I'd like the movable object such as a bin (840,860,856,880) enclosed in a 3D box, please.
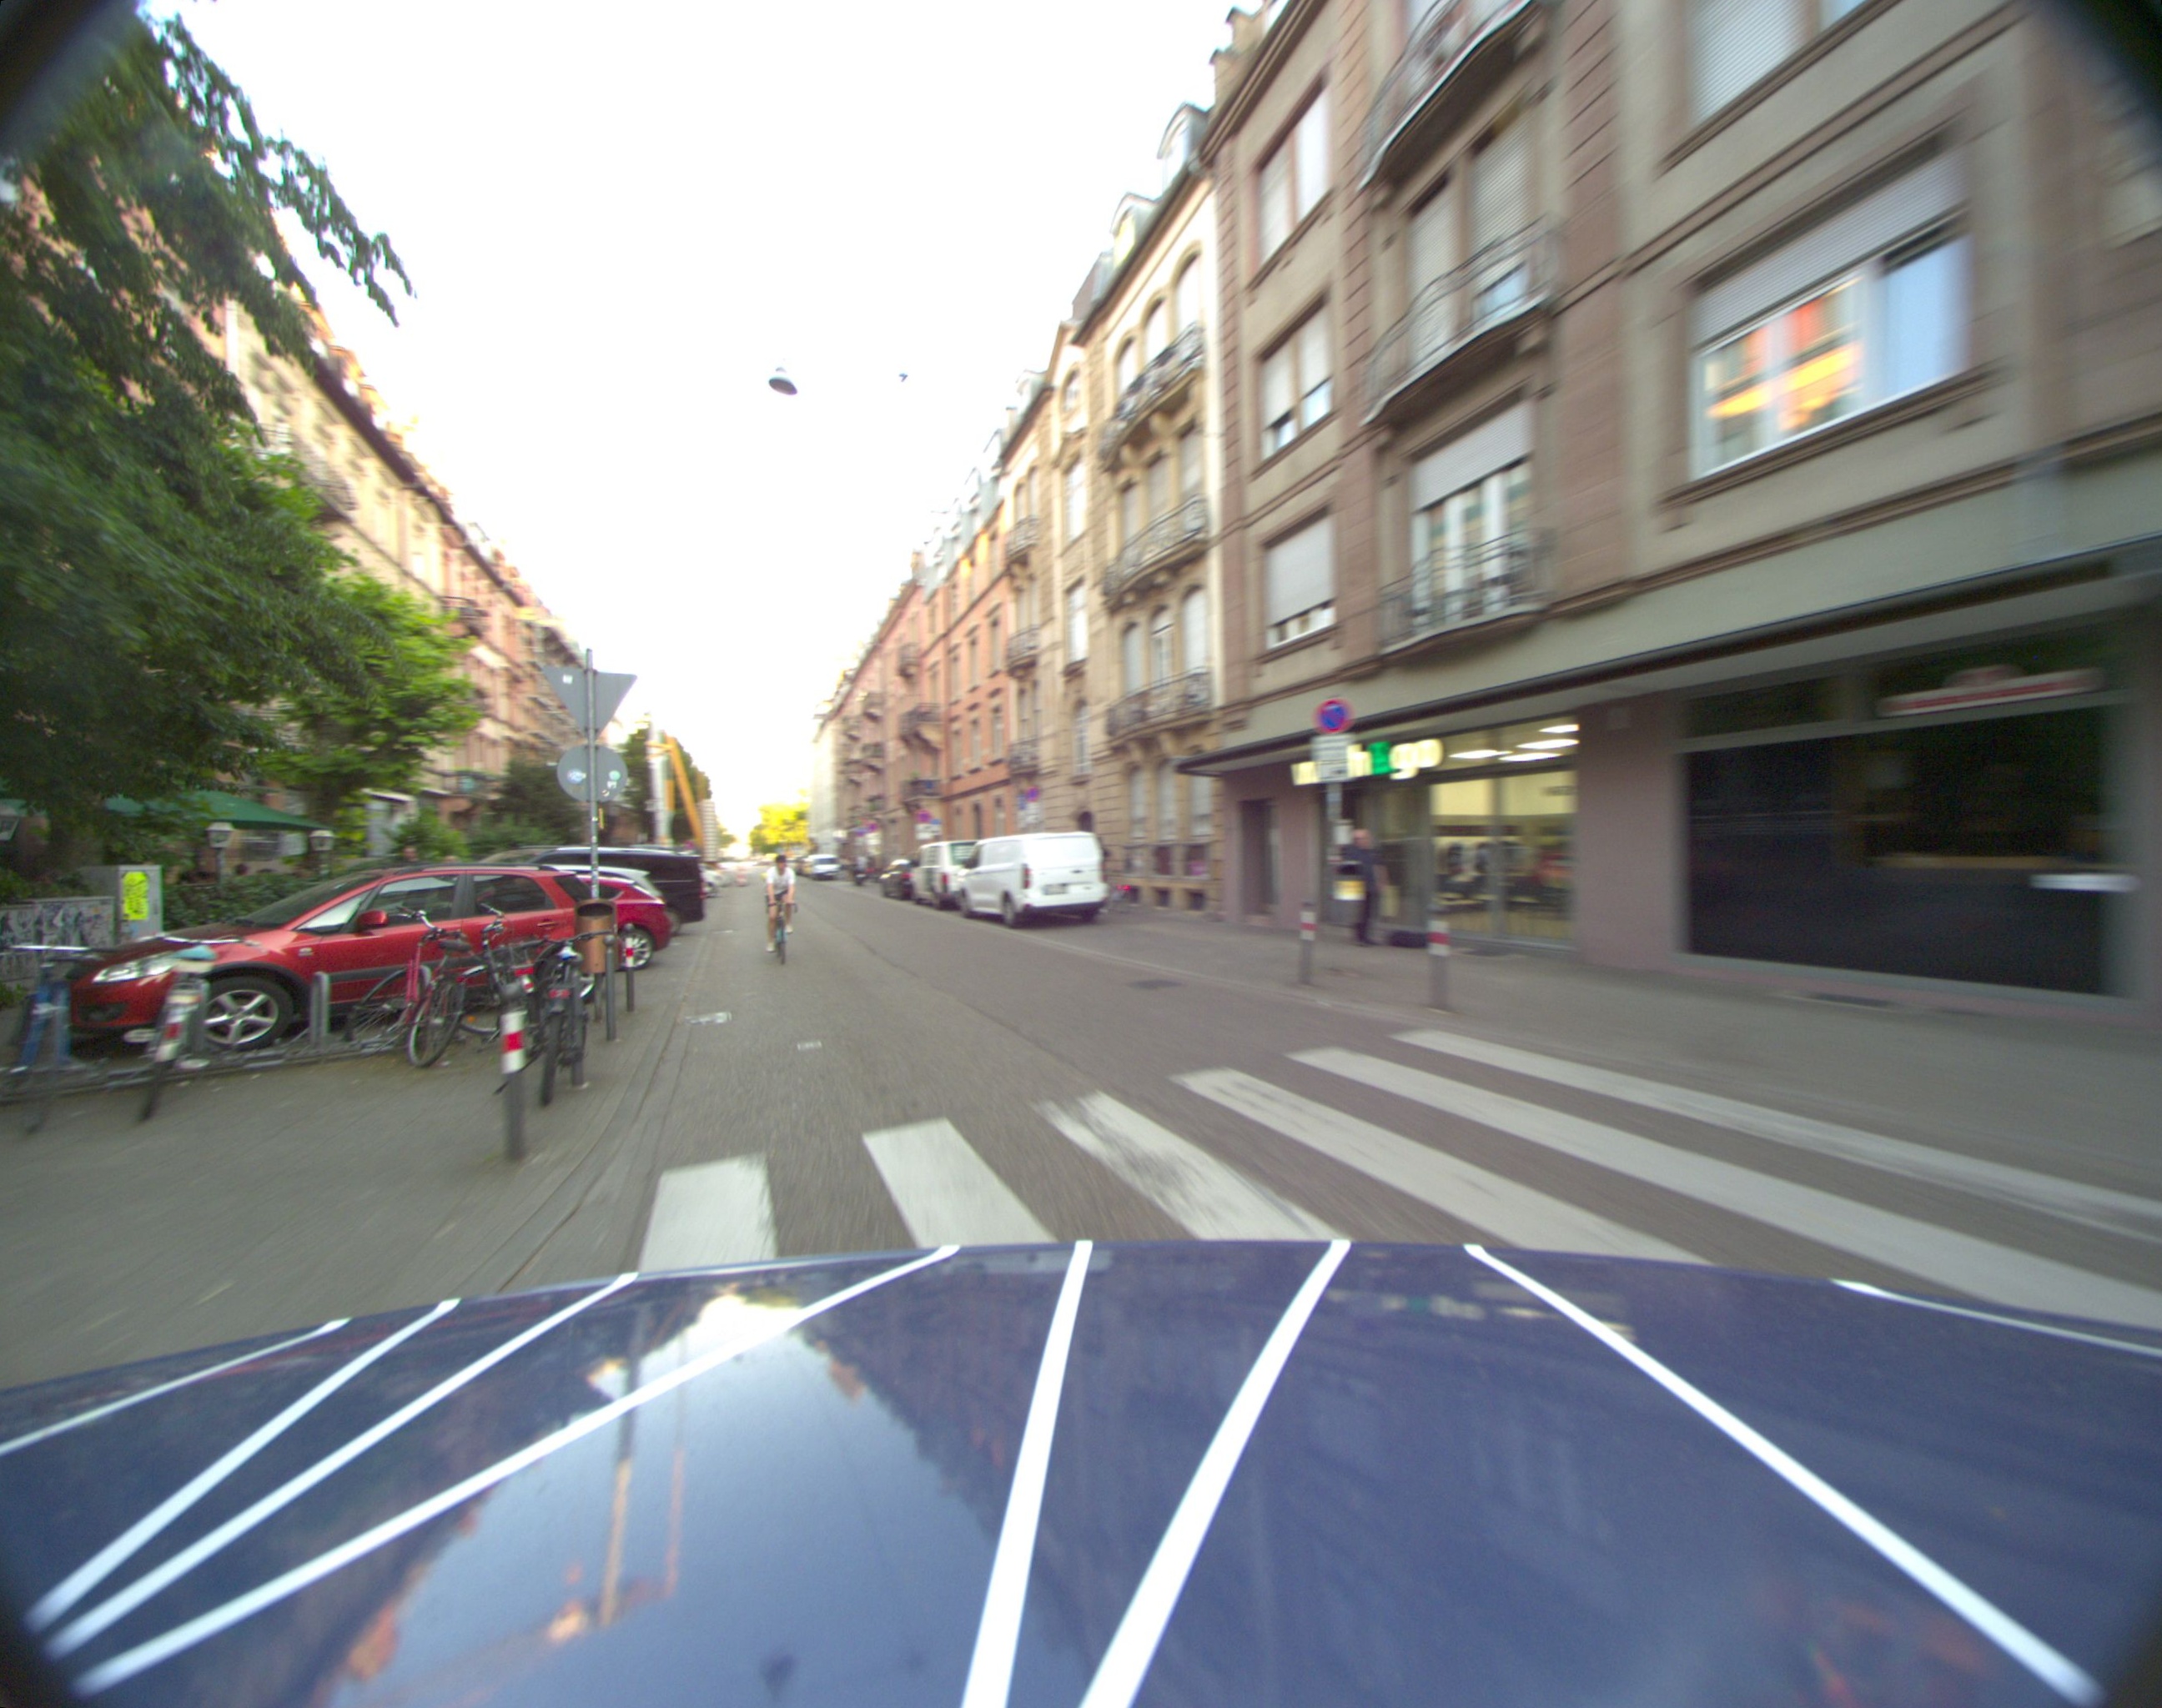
[{"bbox_3d":[-15.962,1.091,51.965,0.891,1.244,0.774,-3,2,-23],"label":"movable object such as a bin"}]

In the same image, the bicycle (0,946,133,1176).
[{"bbox_3d":[-6.323,1.179,4.655,1.764,1.057,0.600,0,-1,40],"label":"bicycle"}]

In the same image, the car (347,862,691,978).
[{"bbox_3d":[-9.230,0.981,12.860,1.928,1.612,4.234,0,-2,33],"label":"car"}]

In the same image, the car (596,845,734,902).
[{"bbox_3d":[-18.400,0.786,33.799,1.994,2.348,4.949,-1,0,40],"label":"car"}]

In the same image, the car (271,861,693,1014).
[{"bbox_3d":[-8.057,0.986,10.721,1.928,1.678,4.233,0,-2,28],"label":"car"}]

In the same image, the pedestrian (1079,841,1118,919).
[{"bbox_3d":[0.409,0.600,18.311,0.539,1.813,0.995,-3,2,-20],"label":"pedestrian"}]

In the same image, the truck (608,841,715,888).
[{"bbox_3d":[-30.931,0.704,56.362,6.507,3.059,2.519,-3,2,-20],"label":"truck"}]

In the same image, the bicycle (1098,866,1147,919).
[{"bbox_3d":[0.983,0.898,18.362,0.473,1.136,1.781,-3,2,-20],"label":"bicycle"}]

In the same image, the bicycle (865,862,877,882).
[{"bbox_3d":[-12.570,1.077,45.433,0.413,1.153,1.834,-3,2,-23],"label":"bicycle"}]

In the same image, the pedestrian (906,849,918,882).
[{"bbox_3d":[-9.423,0.648,42.301,0.465,1.779,0.640,-3,2,-20],"label":"pedestrian"}]

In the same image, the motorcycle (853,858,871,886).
[{"bbox_3d":[-11.765,0.936,40.827,0.687,1.397,2.010,-3,2,-21],"label":"motorcycle"}]

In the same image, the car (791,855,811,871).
[{"bbox_3d":[-31.662,1.019,85.834,1.733,1.638,3.909,-3,1,-24],"label":"car"}]

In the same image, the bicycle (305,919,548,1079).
[{"bbox_3d":[-5.589,1.192,6.593,1.555,1.154,0.364,0,0,-38],"label":"bicycle"}]

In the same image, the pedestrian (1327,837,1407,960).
[{"bbox_3d":[4.095,0.605,10.898,0.712,1.668,0.734,-3,1,-21],"label":"pedestrian"}]

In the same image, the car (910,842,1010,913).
[{"bbox_3d":[-3.817,0.635,23.146,1.845,1.910,4.836,-2,1,-23],"label":"car"}]

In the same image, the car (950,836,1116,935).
[{"bbox_3d":[-1.313,0.623,17.646,2.119,1.910,5.015,-2,1,-25],"label":"car"}]

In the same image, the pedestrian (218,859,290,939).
[{"bbox_3d":[-14.740,0.786,13.562,0.590,1.358,0.696,-3,2,-27],"label":"pedestrian"}]

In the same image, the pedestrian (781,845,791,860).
[{"bbox_3d":[-53.434,-0.320,137.632,1.448,2.725,1.010,-3,2,-25],"label":"pedestrian"}]

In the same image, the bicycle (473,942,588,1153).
[{"bbox_3d":[-3.762,1.237,5.273,0.365,1.057,1.549,-3,2,-27],"label":"bicycle"}]

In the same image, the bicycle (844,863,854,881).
[{"bbox_3d":[-14.730,1.115,48.206,0.467,1.062,1.517,-3,2,-20],"label":"bicycle"}]

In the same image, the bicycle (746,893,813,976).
[{"bbox_3d":[-4.905,1.250,12.301,0.521,1.148,1.778,-4,2,-36],"label":"bicycle"}]

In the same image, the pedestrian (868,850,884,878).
[{"bbox_3d":[-13.326,0.645,49.350,0.685,1.800,0.959,-3,2,-28],"label":"pedestrian"}]

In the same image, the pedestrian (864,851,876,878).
[{"bbox_3d":[-14.367,0.728,51.835,0.599,1.804,0.720,-2,2,-6],"label":"pedestrian"}]

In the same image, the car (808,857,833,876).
[{"bbox_3d":[-21.791,1.043,63.566,1.712,1.521,3.785,-2,1,-22],"label":"car"}]

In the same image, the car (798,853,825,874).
[{"bbox_3d":[-25.730,0.907,72.487,1.936,1.872,4.895,-2,1,-25],"label":"car"}]

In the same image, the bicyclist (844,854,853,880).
[{"bbox_3d":[-14.821,0.822,48.433,0.467,1.581,0.486,-3,2,-21],"label":"bicyclist"}]

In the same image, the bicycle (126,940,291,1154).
[{"bbox_3d":[-5.912,1.196,5.142,1.764,1.057,0.600,-1,2,40],"label":"bicycle"}]

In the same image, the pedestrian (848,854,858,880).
[{"bbox_3d":[-14.789,0.846,49.281,0.420,1.699,0.350,-3,2,-29],"label":"pedestrian"}]

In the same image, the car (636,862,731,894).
[{"bbox_3d":[-20.363,1.197,38.994,1.842,1.507,3.876,-1,0,41],"label":"car"}]

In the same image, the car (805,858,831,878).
[{"bbox_3d":[-23.464,1.212,67.662,1.935,1.587,3.962,-2,1,-22],"label":"car"}]

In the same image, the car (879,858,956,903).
[{"bbox_3d":[-6.182,0.930,28.369,1.845,1.462,4.164,-2,1,-26],"label":"car"}]

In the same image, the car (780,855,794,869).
[{"bbox_3d":[-44.123,1.172,114.060,1.789,1.860,4.448,-3,2,-22],"label":"car"}]

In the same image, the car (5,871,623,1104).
[{"bbox_3d":[-7.096,0.995,7.507,1.688,1.618,4.058,-1,-2,35],"label":"car"}]

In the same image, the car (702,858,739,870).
[{"bbox_3d":[-45.074,1.237,94.990,1.673,1.509,3.843,1,0,34],"label":"car"}]

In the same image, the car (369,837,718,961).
[{"bbox_3d":[-10.452,0.821,15.413,1.928,2.060,5.449,0,-2,28],"label":"car"}]

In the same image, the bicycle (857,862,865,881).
[{"bbox_3d":[-14.294,1.098,49.348,0.467,1.148,1.997,-3,2,-17],"label":"bicycle"}]

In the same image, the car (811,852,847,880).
[{"bbox_3d":[-17.964,0.798,54.022,1.778,1.779,4.577,-3,1,-25],"label":"car"}]

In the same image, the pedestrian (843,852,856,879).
[{"bbox_3d":[-15.642,0.789,51.355,0.601,1.804,0.719,-3,2,-32],"label":"pedestrian"}]

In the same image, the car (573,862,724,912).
[{"bbox_3d":[-14.787,1.107,26.167,1.813,1.581,4.118,0,-2,36],"label":"car"}]

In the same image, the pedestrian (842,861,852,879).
[{"bbox_3d":[-16.037,1.092,52.041,0.480,1.244,0.651,-3,2,-23],"label":"pedestrian"}]

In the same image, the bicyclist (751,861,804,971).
[{"bbox_3d":[-4.916,0.974,12.305,0.530,1.694,0.787,-4,2,-36],"label":"bicyclist"}]

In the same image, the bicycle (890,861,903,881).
[{"bbox_3d":[-11.111,1.014,45.701,0.413,1.153,1.834,-3,2,-23],"label":"bicycle"}]
